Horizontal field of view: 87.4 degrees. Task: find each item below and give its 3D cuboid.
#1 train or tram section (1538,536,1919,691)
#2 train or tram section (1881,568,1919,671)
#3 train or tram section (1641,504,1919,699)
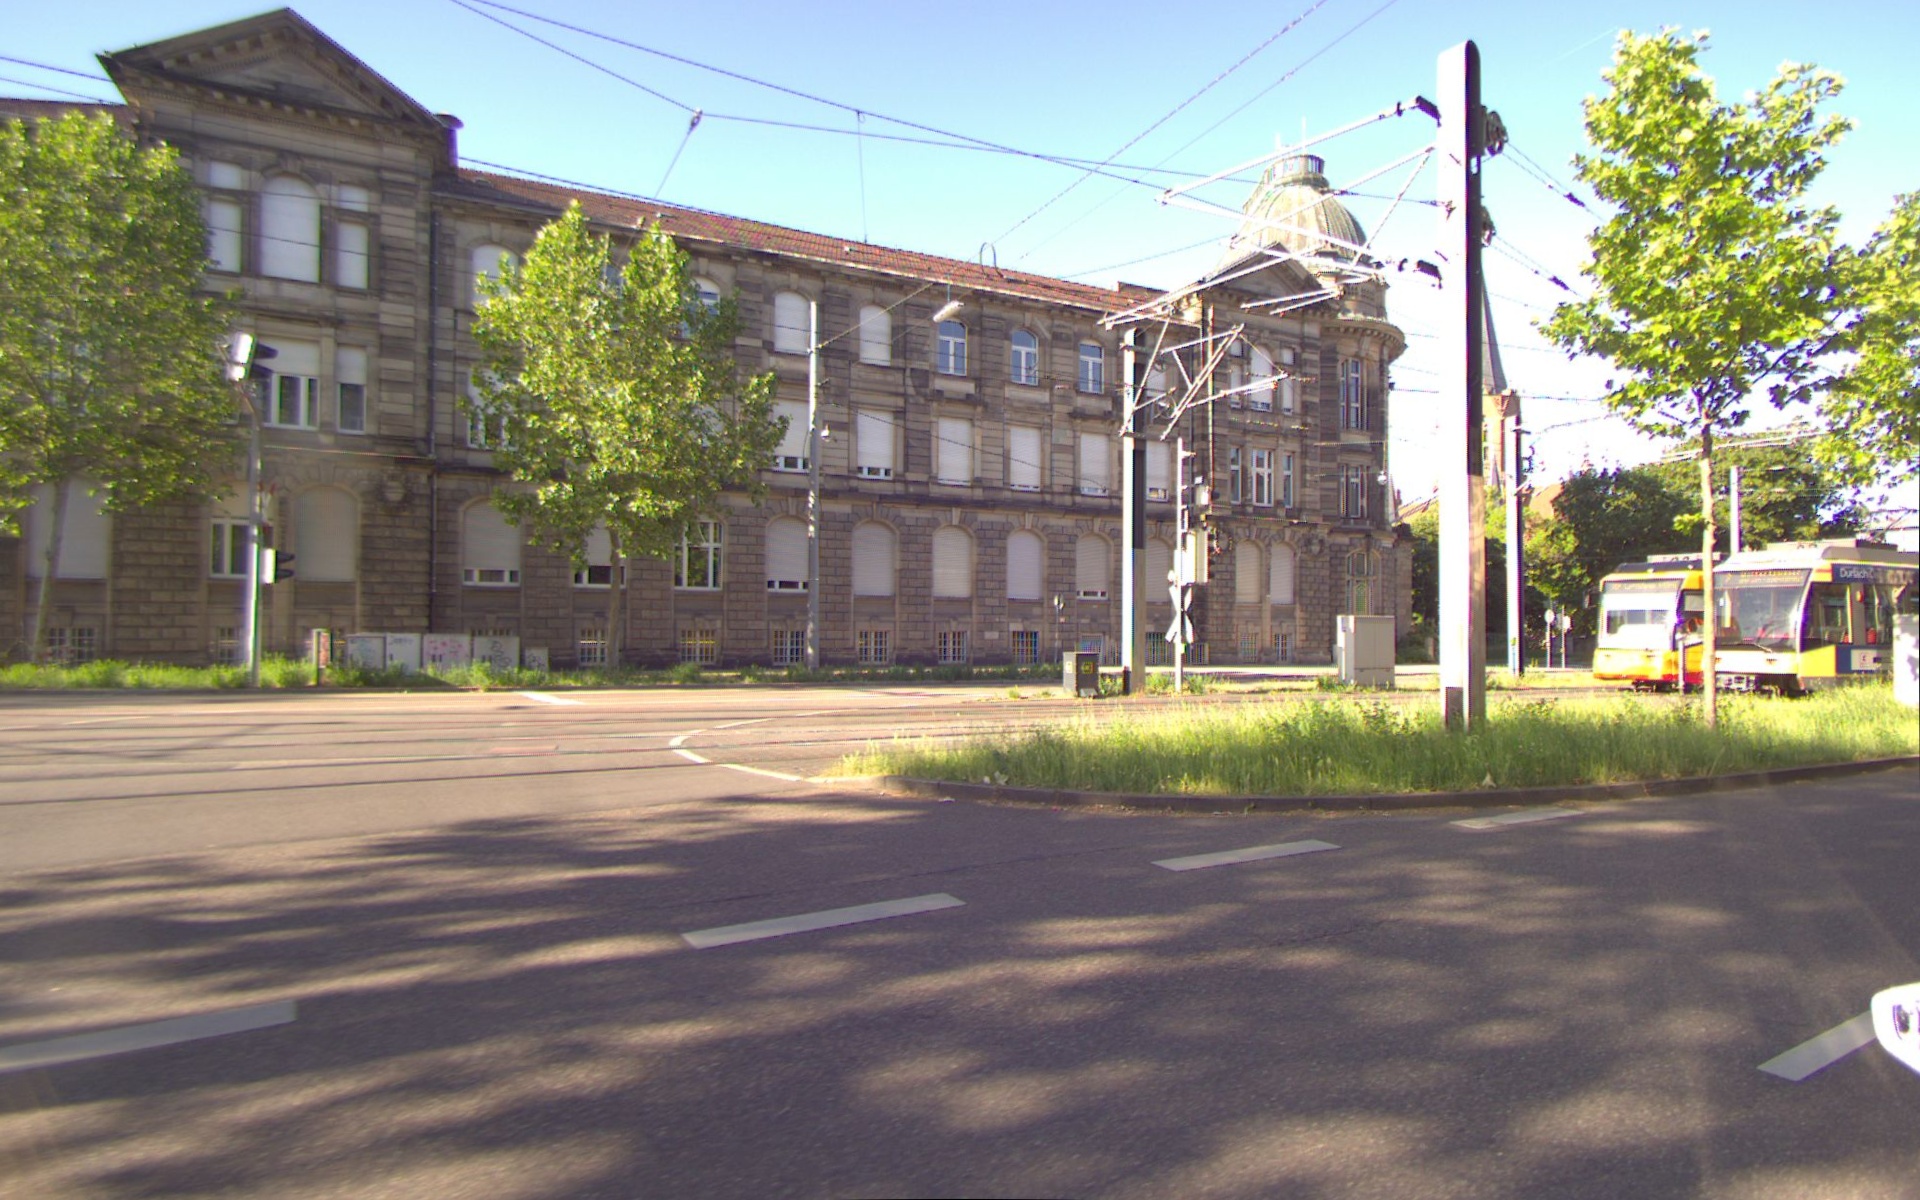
[{"bbox_3d":[24.567,0.509,29.254,20.955,3.530,2.951,1,0,-29],"label":"train or tram section"},{"bbox_3d":[35.656,0.736,35.427,5.986,3.530,2.943,1,0,-29],"label":"train or tram section"},{"bbox_3d":[22.302,0.202,24.115,14.077,3.863,2.920,2,0,-25],"label":"train or tram section"}]
